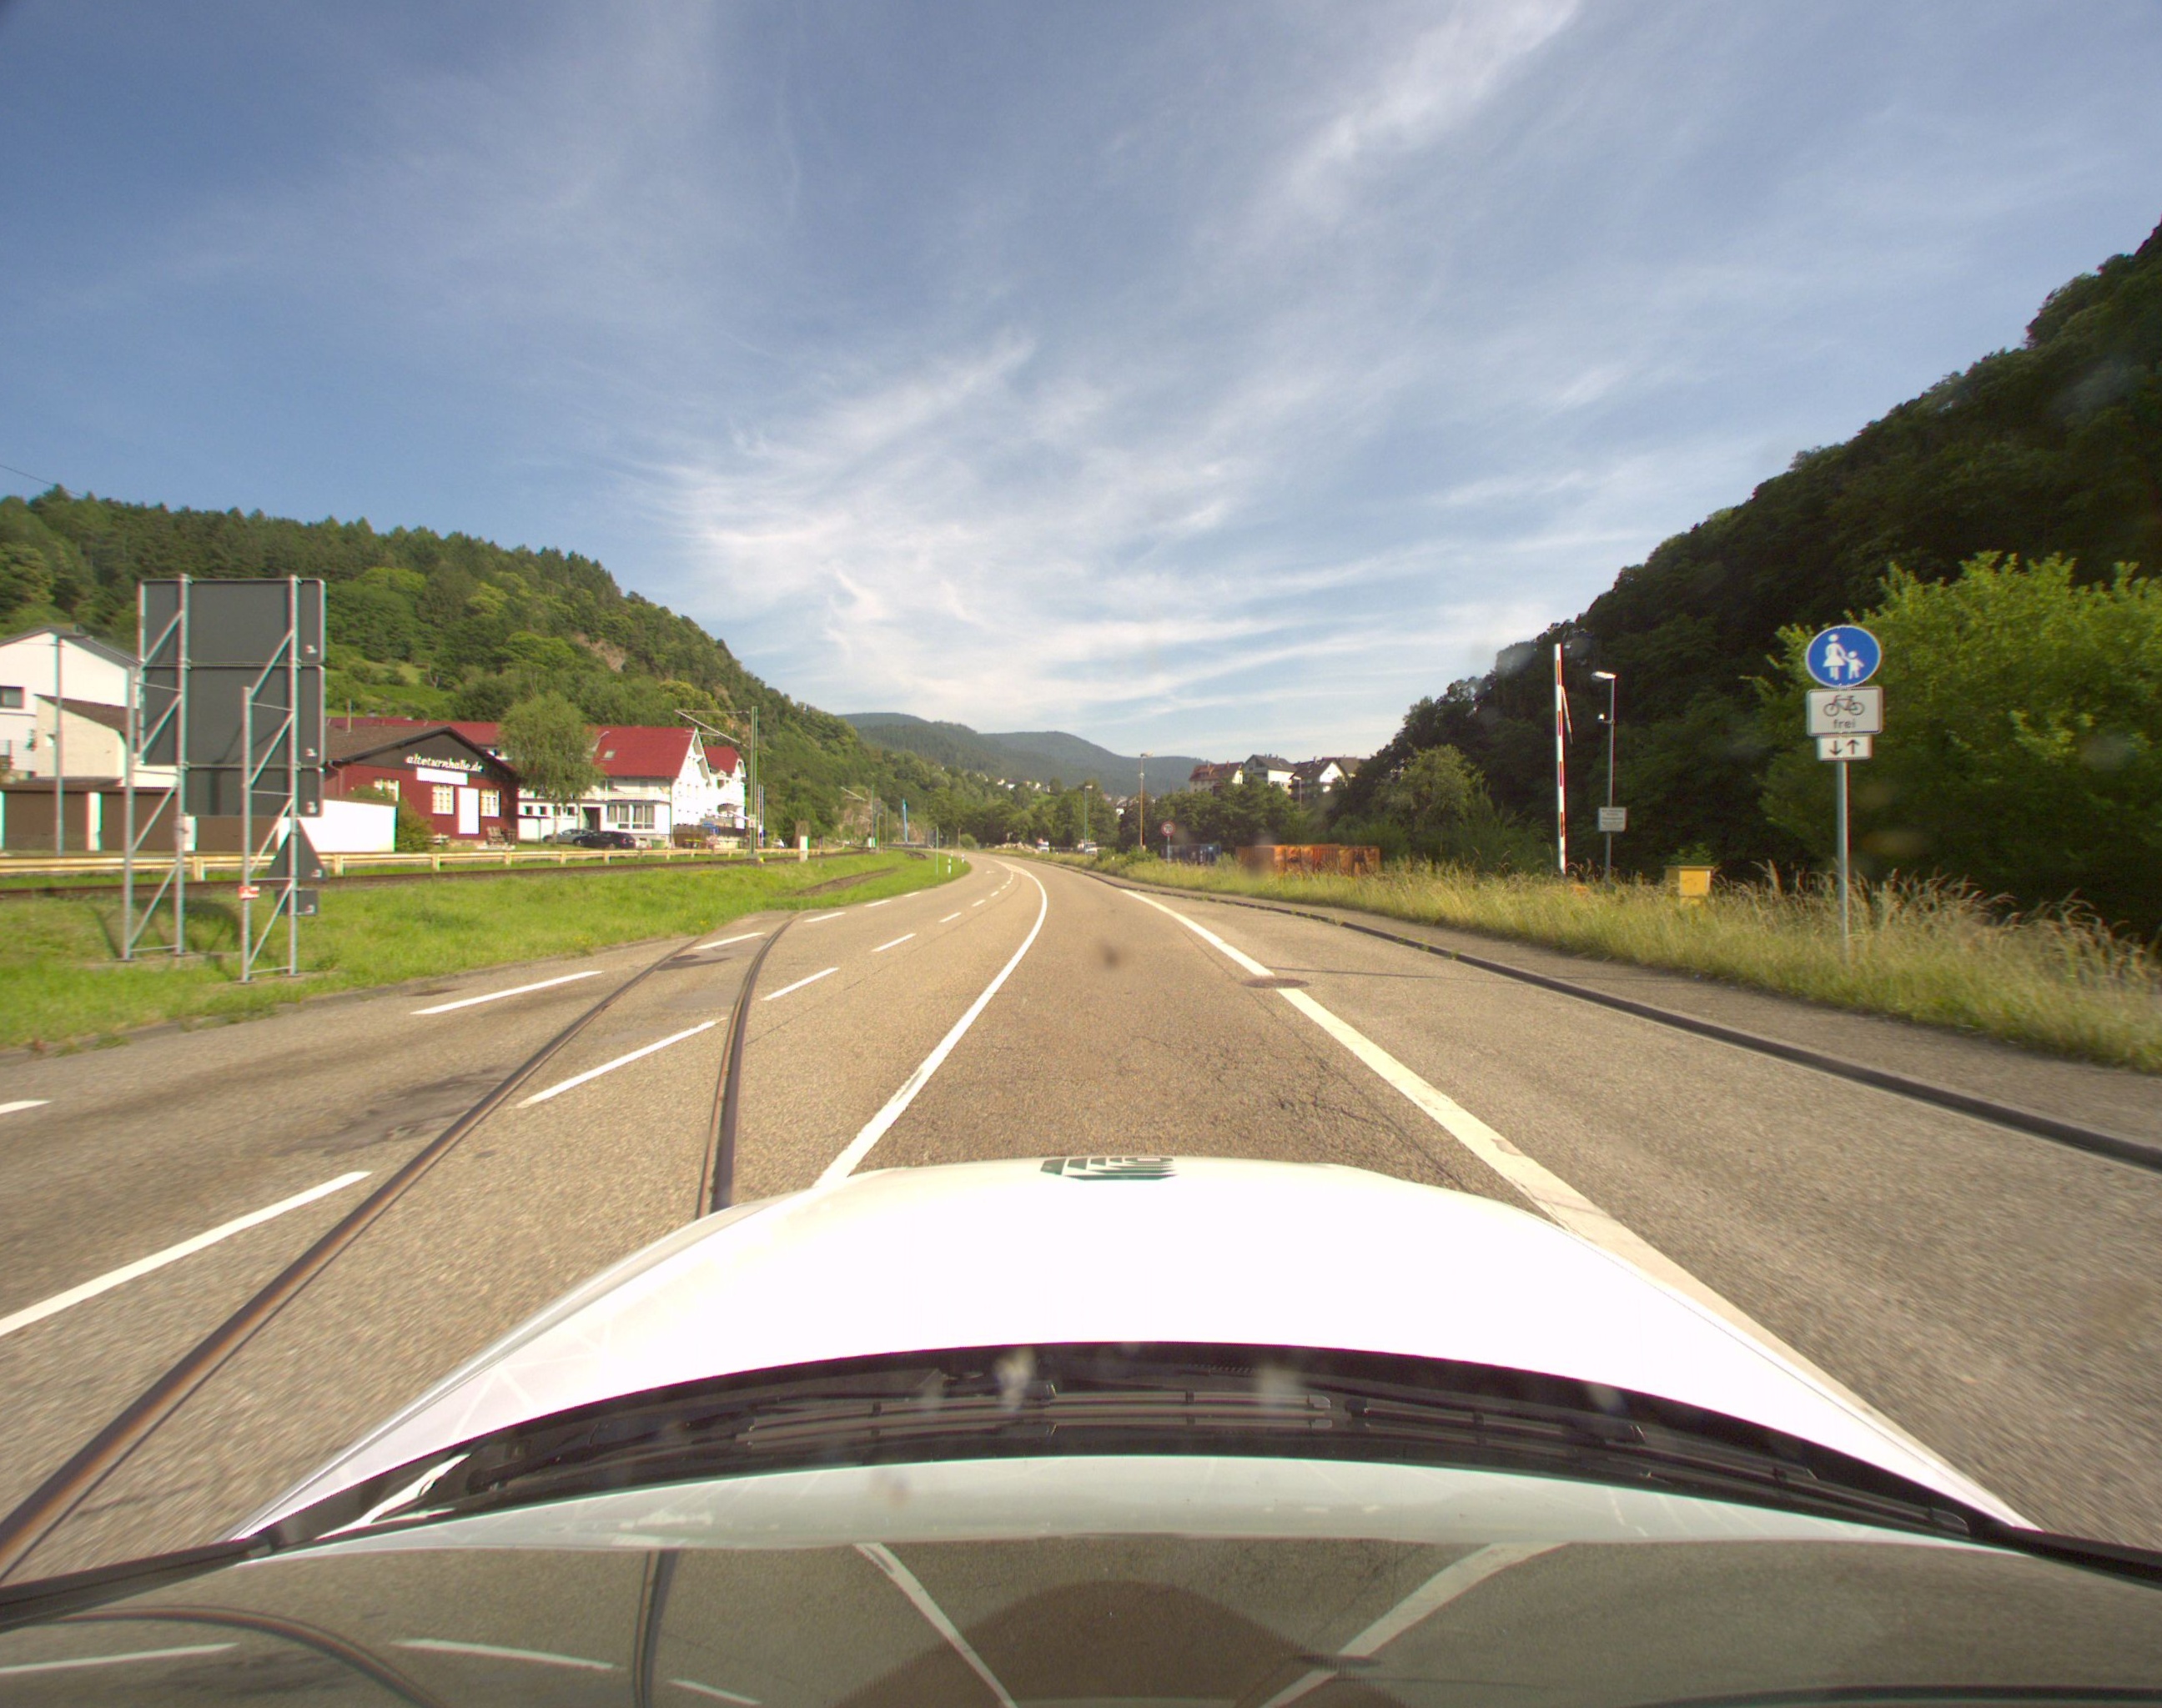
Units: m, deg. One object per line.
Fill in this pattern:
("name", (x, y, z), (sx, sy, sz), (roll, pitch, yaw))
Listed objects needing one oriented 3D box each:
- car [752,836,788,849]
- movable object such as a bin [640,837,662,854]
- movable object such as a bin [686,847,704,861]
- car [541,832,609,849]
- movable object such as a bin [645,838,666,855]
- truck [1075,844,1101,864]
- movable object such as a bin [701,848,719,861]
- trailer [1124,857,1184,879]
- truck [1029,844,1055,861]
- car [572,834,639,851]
("car", (-41.636, -1.493, 109.199), (4.143, 1.691, 1.994), (1, 0, -9))
("movable object such as a bin", (-31.126, -0.626, 58.938), (1.141, 1.192, 1.088), (1, 0, -14))
("movable object such as a bin", (-33.744, -0.004, 71.281), (1.089, 1.192, 1.140), (1, 0, -8))
("car", (-40.594, -1.064, 65.376), (4.250, 1.329, 1.750), (1, 0, -8))
("movable object such as a bin", (-31.392, -0.544, 60.136), (1.141, 1.192, 1.088), (1, 0, -14))
("truck", (1.316, 0.019, 163.816), (3.106, 3.782, 8.606), (2, 0, -13))
("movable object such as a bin", (-32.606, 0.042, 71.556), (1.089, 1.192, 1.140), (1, 0, -8))
("trailer", (5.790, 1.053, 66.376), (2.789, 1.474, 9.863), (3, 0, -7))
("truck", (-8.722, -0.372, 180.212), (3.115, 3.782, 8.582), (2, 0, -22))
("car", (-36.718, -0.887, 63.000), (4.090, 1.270, 1.733), (1, 0, -7))
